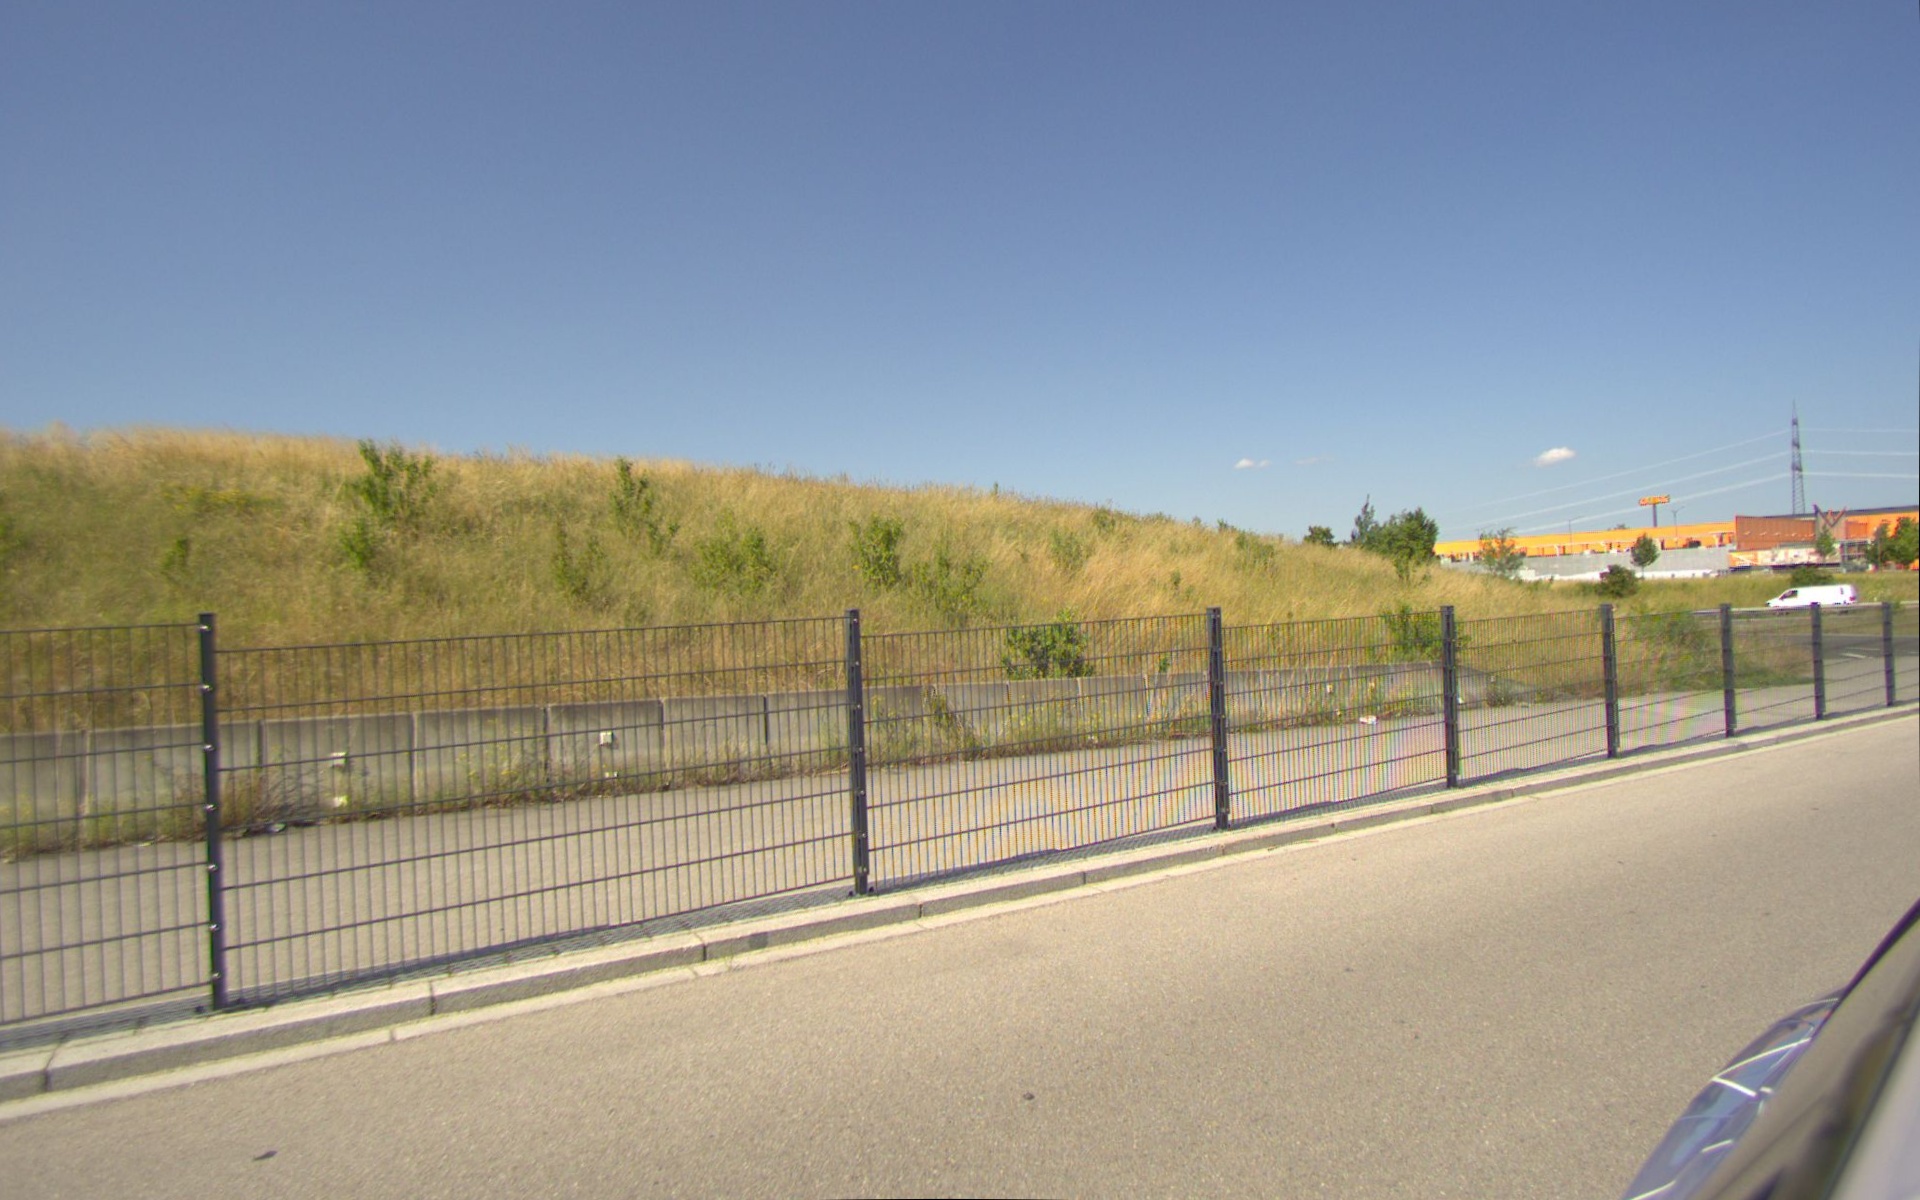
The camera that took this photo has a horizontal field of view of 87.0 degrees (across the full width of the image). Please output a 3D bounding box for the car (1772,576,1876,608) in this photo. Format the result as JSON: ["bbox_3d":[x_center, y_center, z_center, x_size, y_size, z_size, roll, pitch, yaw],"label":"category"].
[{"bbox_3d":[61.447,-0.563,72.058,1.964,2.039,5.248,-1,-1,-39],"label":"car"}]
